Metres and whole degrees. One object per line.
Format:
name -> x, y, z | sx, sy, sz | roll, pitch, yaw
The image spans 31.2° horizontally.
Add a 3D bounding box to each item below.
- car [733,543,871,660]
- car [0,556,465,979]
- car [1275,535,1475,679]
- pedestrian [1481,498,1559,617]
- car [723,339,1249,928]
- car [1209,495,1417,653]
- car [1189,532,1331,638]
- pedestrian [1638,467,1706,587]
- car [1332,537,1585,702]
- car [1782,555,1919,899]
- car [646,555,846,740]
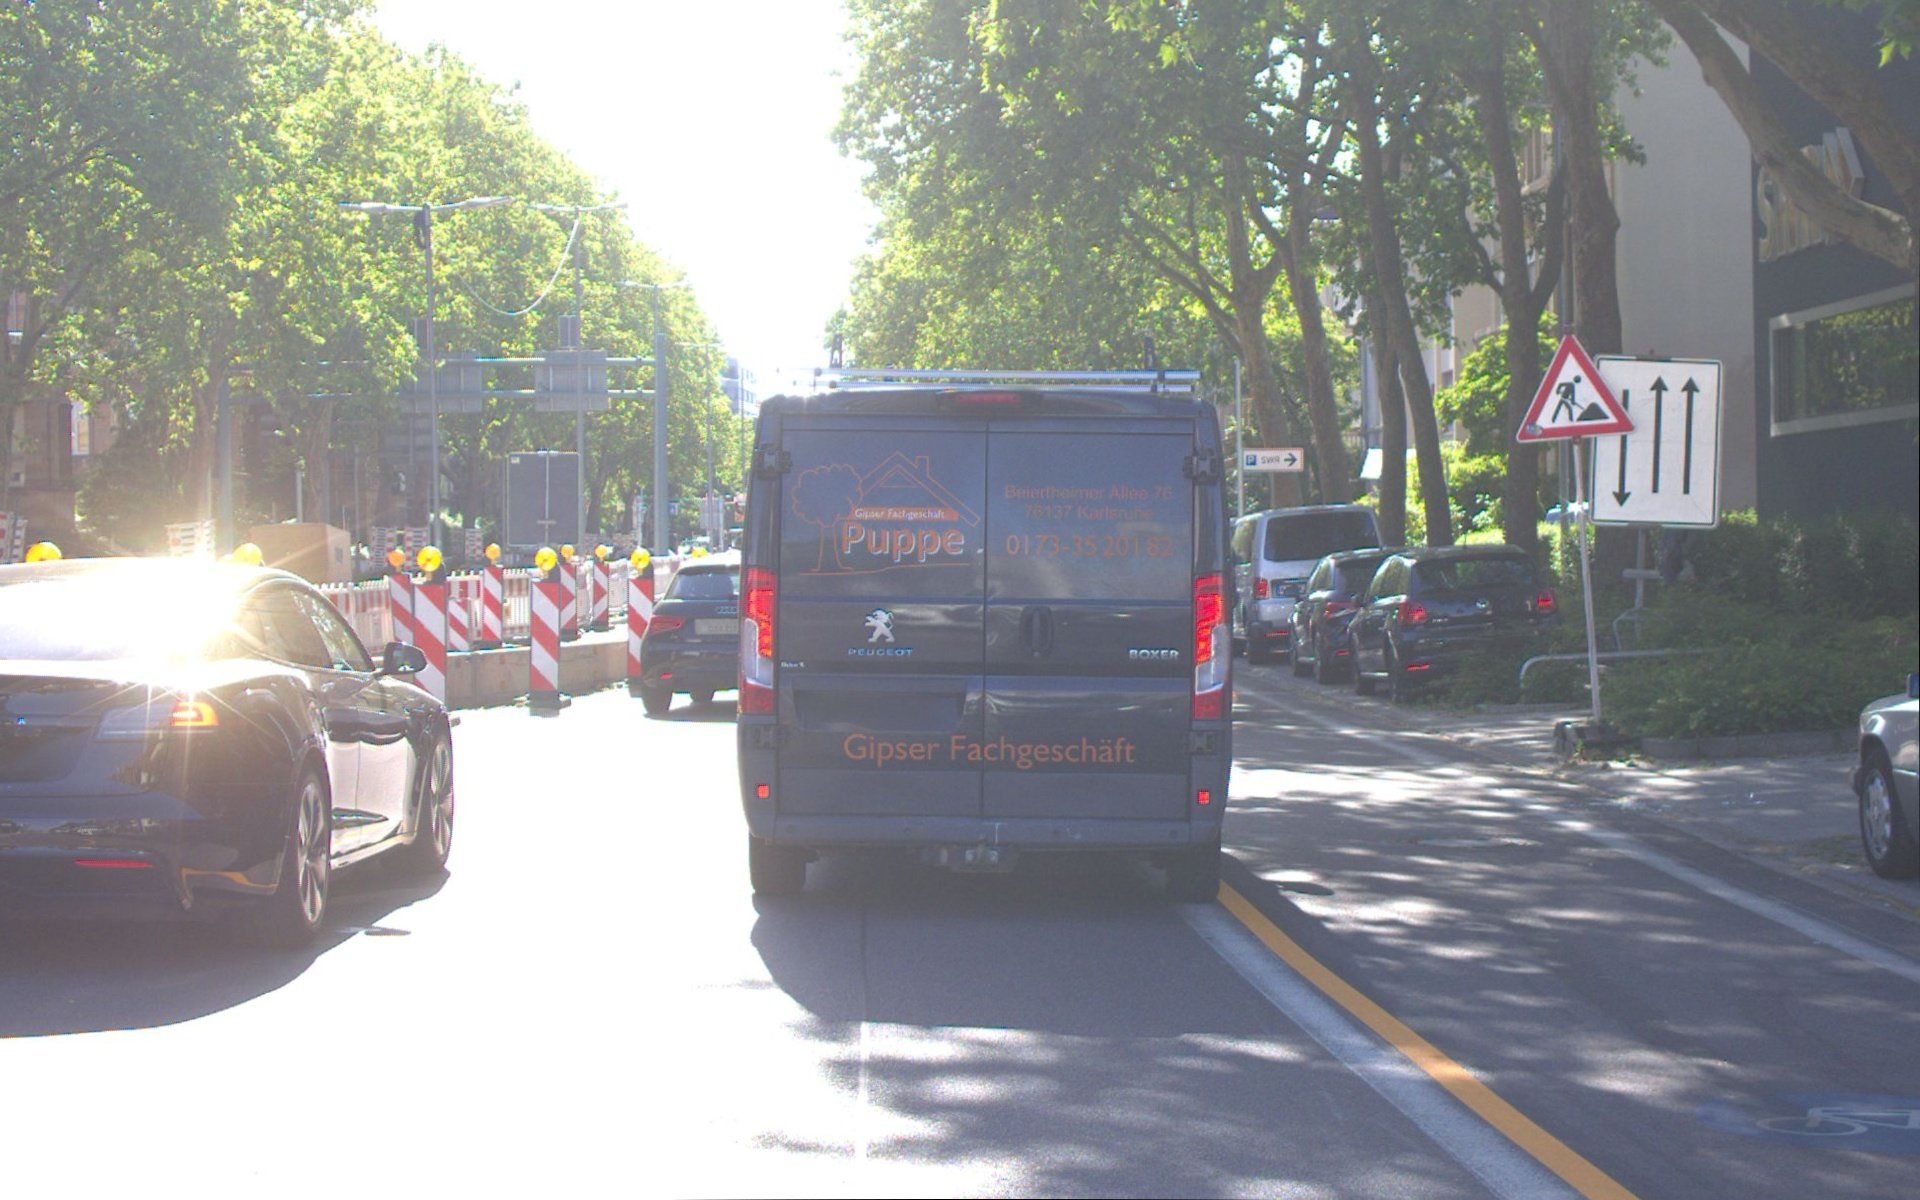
car -> -2.059, 0.001, 44.022 | 1.547, 1.420, 3.556 | -1, 1, -6
car -> -3.310, 0.543, 13.992 | 1.925, 1.407, 4.626 | 0, 1, 0
car -> 4.608, 0.042, 38.688 | 1.657, 1.535, 4.129 | 0, 1, -1
pedestrian -> 7.634, -0.584, 46.926 | 0.727, 1.597, 1.267 | -1, 1, -6
car -> 0.098, 0.080, 15.678 | 2.095, 2.347, 3.933 | 0, 2, 0
car -> 4.580, -0.367, 45.373 | 2.025, 1.940, 5.274 | -1, 1, -2
car -> 4.422, -0.252, 51.122 | 1.748, 1.472, 4.101 | -1, 1, 1
pedestrian -> 10.021, -1.037, 48.413 | 0.705, 1.643, 0.675 | 2, 3, -4
car -> 4.807, 0.145, 33.700 | 1.763, 1.503, 4.251 | 0, 1, -1
car -> 5.086, 0.556, 14.477 | 1.852, 1.474, 4.943 | 0, 1, -3
car -> -1.983, 0.397, 32.222 | 1.746, 1.402, 4.001 | 1, 4, -3
